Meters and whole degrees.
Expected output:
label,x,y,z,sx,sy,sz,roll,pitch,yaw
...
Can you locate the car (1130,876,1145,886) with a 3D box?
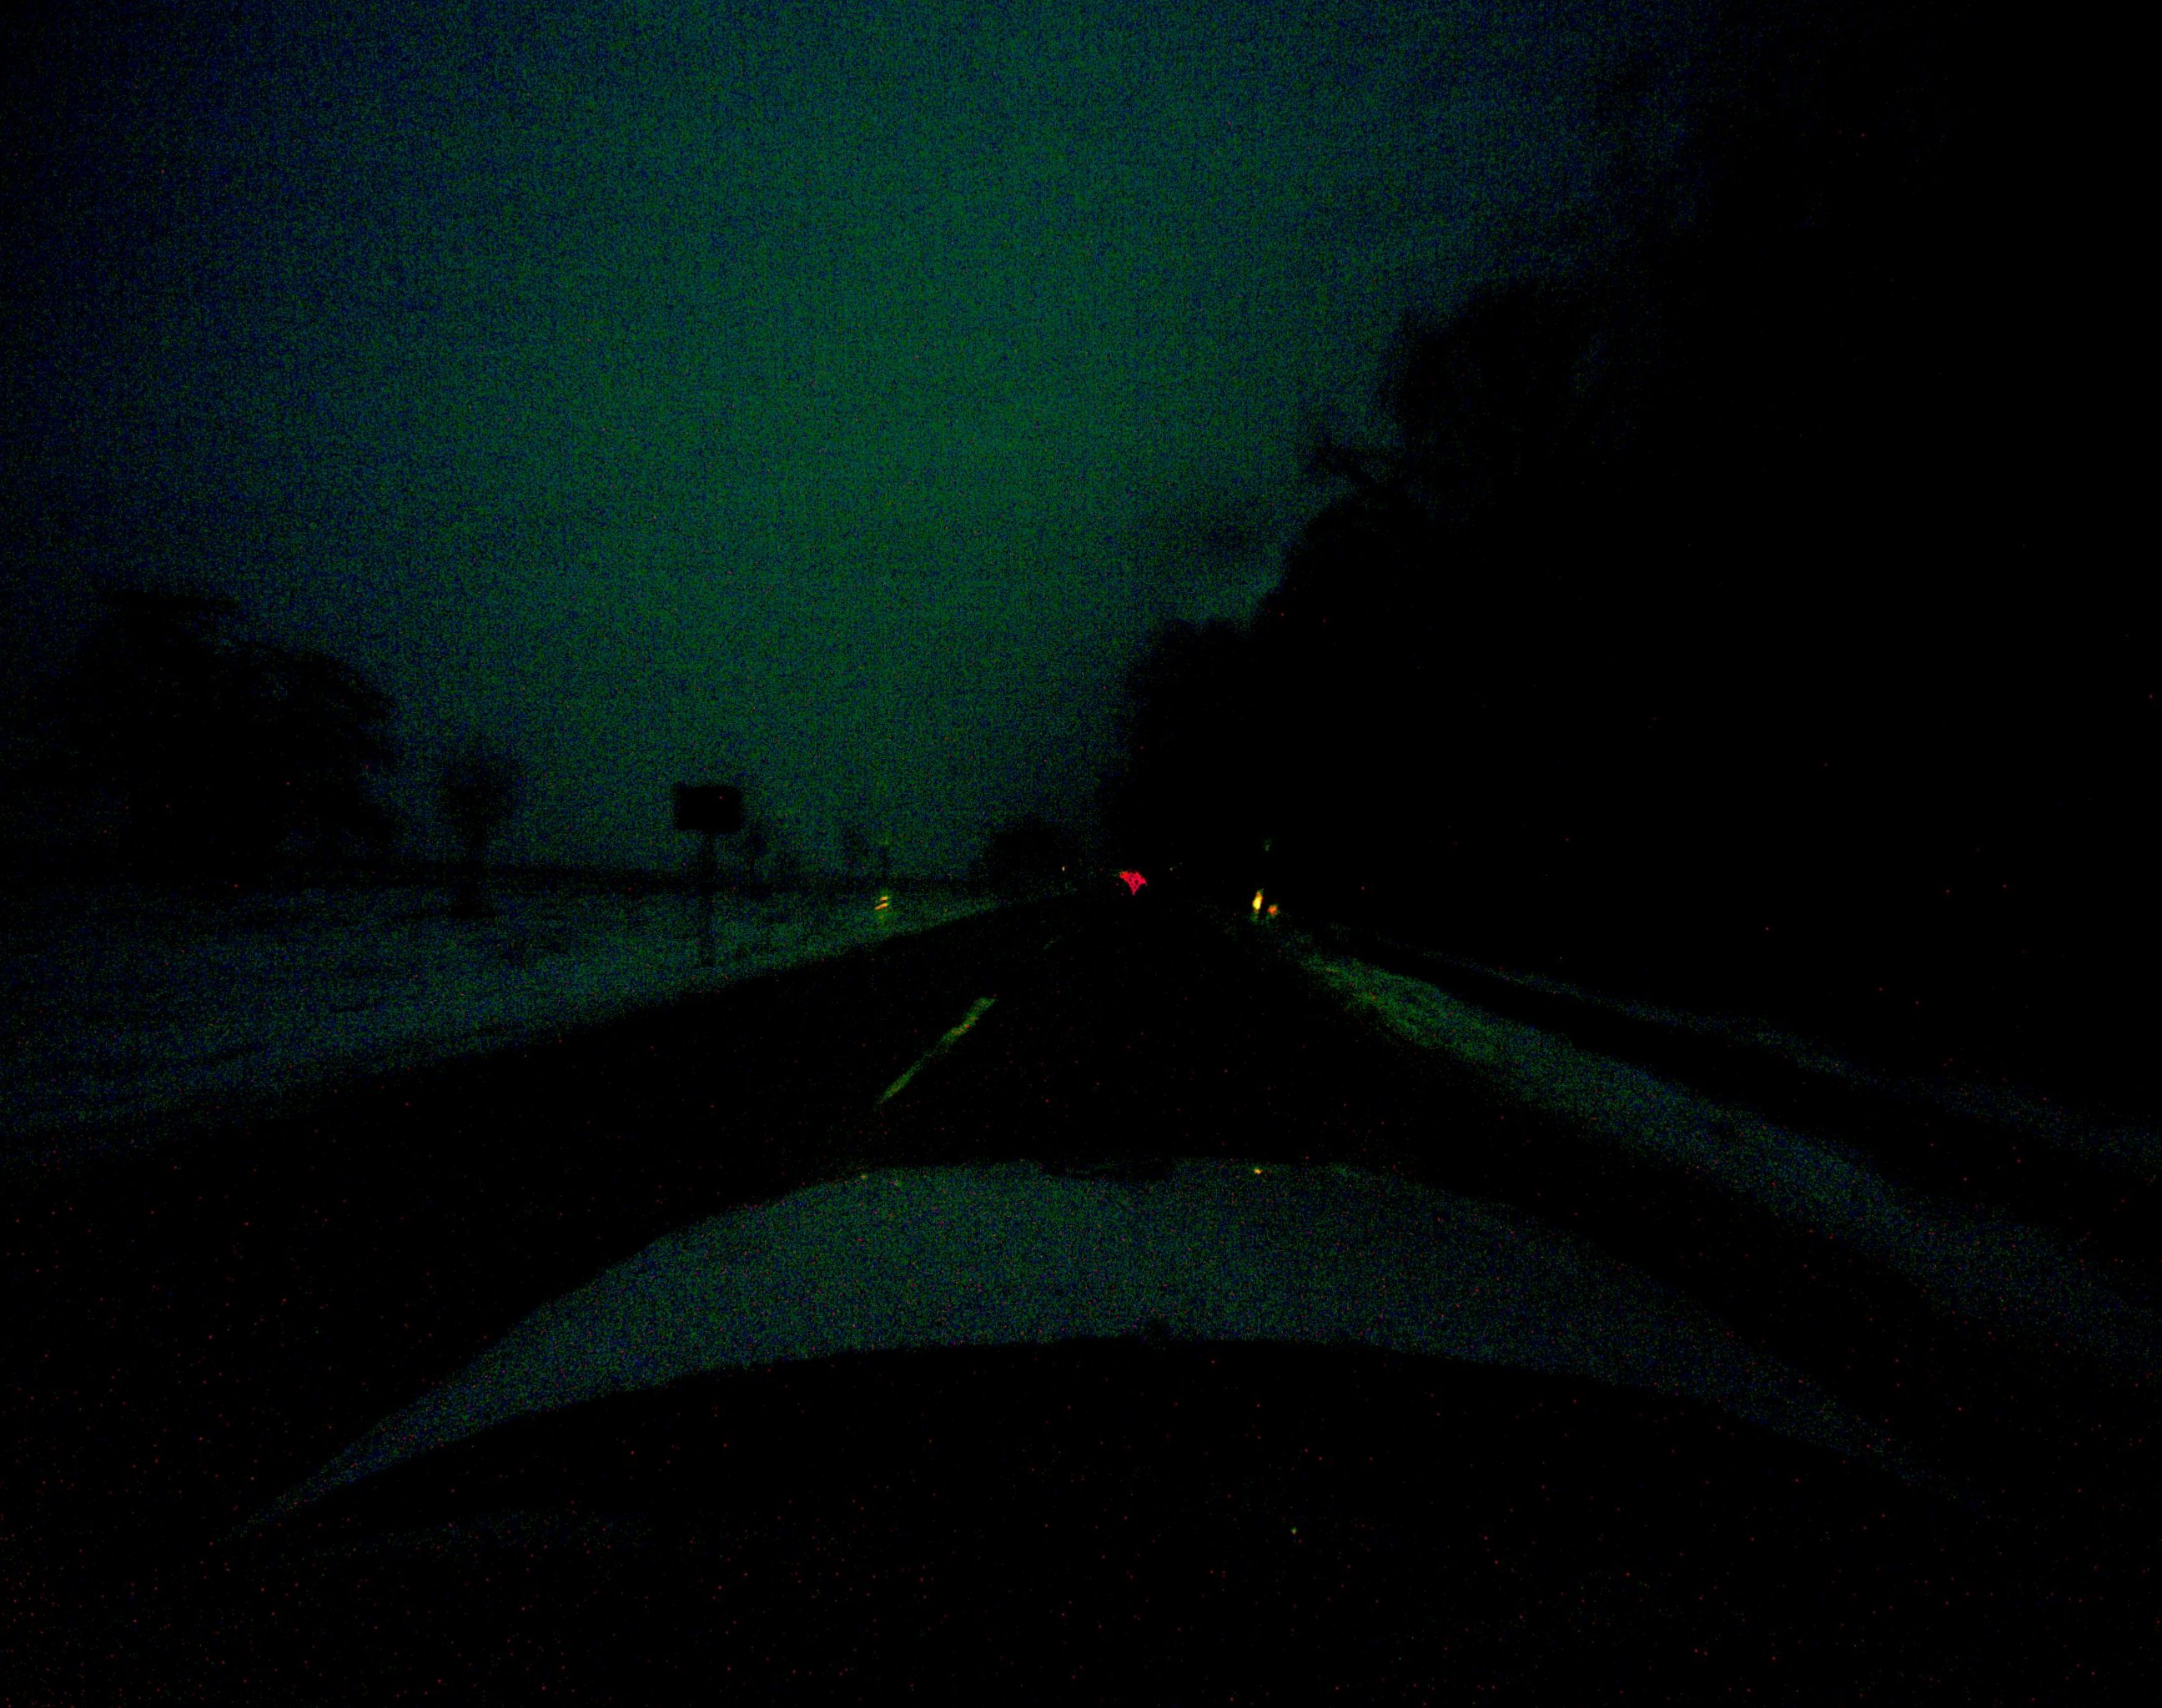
label,x,y,z,sx,sy,sz,roll,pitch,yaw
car,7.681,3.709,111.430,1.986,1.420,4.001,-1,-3,2
